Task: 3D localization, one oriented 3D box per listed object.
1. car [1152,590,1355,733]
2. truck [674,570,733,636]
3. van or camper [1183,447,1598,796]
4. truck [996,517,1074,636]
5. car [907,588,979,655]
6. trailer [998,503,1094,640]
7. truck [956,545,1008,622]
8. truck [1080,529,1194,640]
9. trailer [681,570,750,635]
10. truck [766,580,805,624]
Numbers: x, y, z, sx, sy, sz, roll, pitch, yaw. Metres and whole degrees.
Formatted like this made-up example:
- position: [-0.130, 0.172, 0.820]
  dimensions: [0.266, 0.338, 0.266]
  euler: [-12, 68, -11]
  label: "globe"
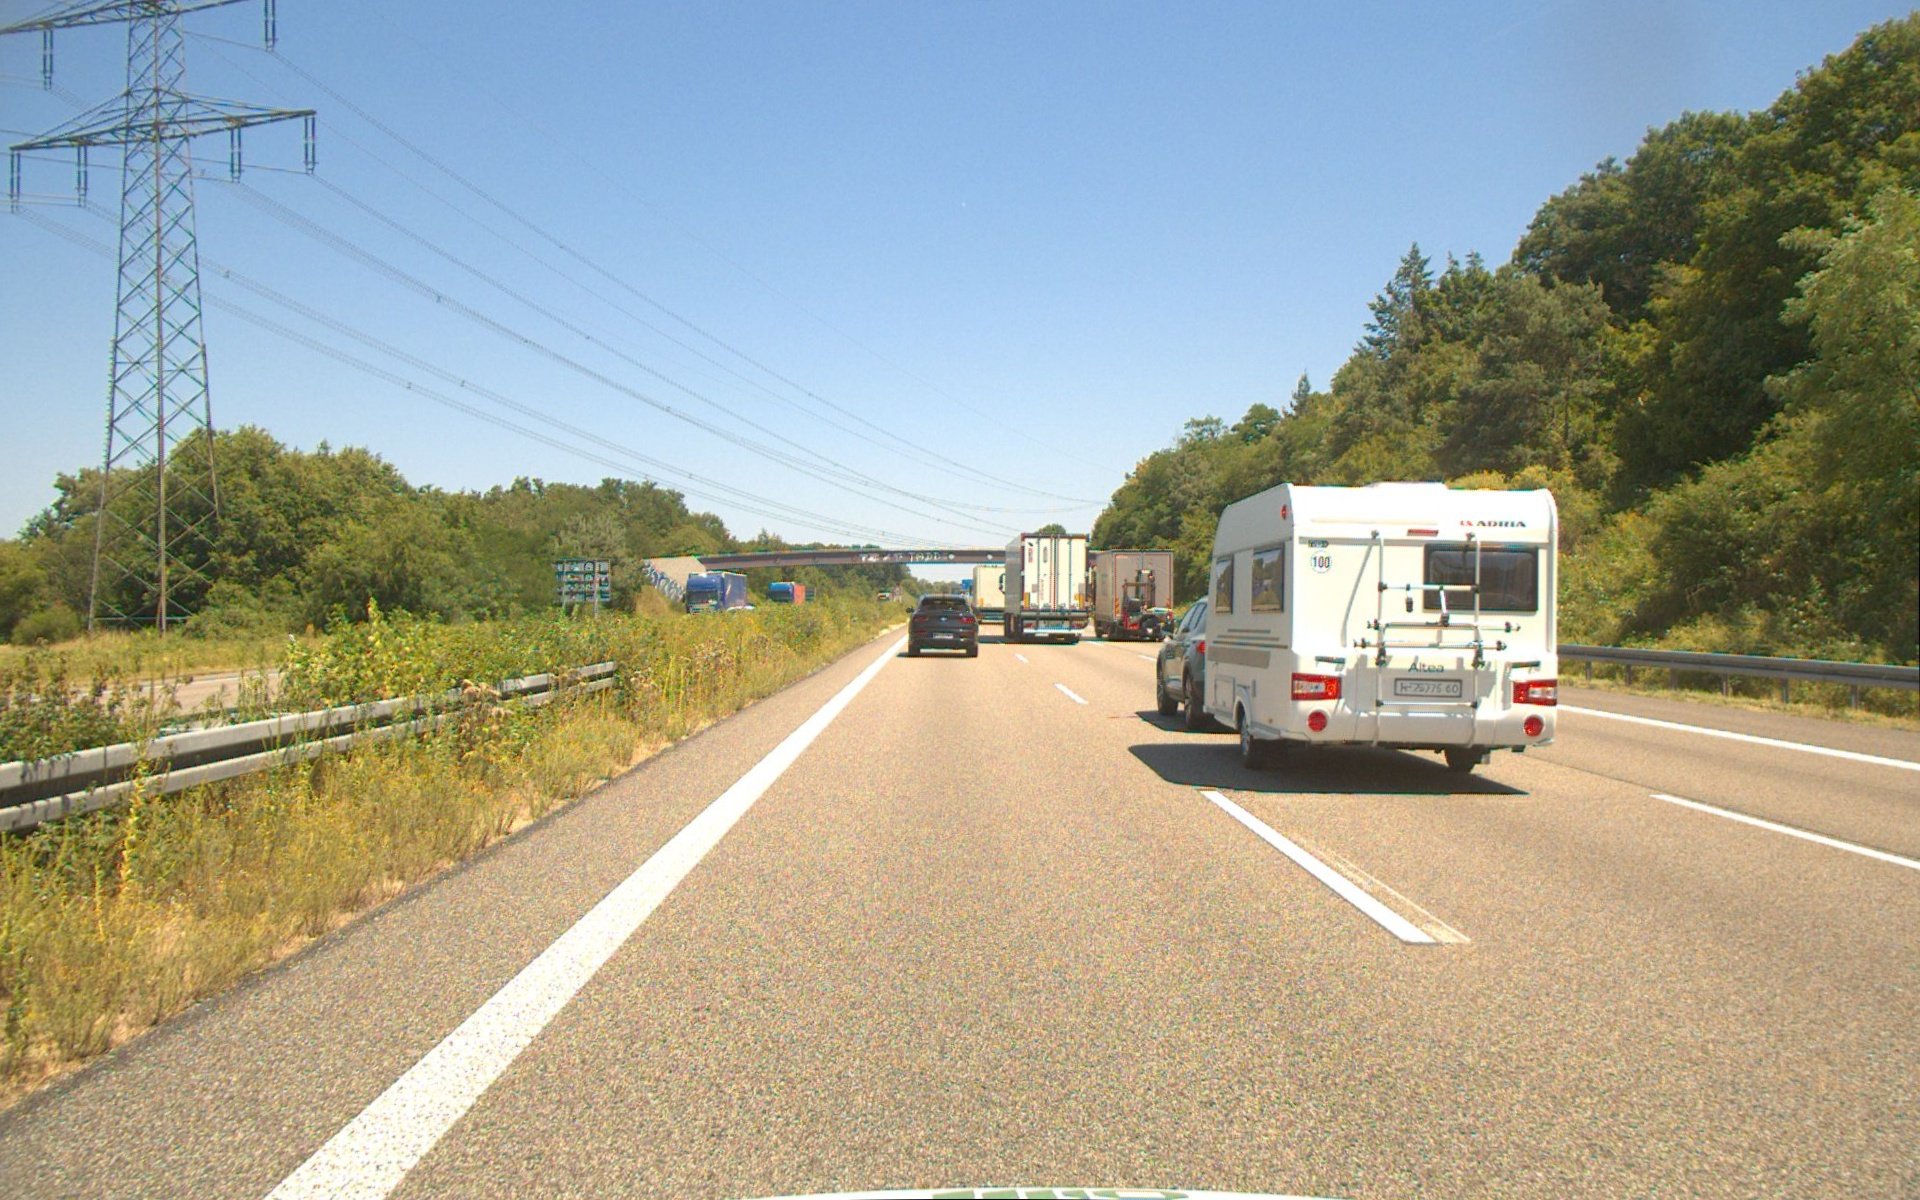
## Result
- position: [3.699, 0.714, 21.690]
  dimensions: [1.840, 1.640, 4.702]
  euler: [1, 0, 0]
  label: "car"
- position: [-18.385, 0.211, 118.826]
  dimensions: [3.025, 4.484, 6.800]
  euler: [-3, 0, -1]
  label: "truck"
- position: [3.806, 0.155, 16.164]
  dimensions: [2.389, 2.721, 6.349]
  euler: [0, 0, 0]
  label: "van or camper"
- position: [3.268, -0.987, 73.809]
  dimensions: [3.024, 4.970, 6.596]
  euler: [1, 0, -1]
  label: "truck"
- position: [-0.528, 0.585, 46.935]
  dimensions: [1.953, 1.803, 3.999]
  euler: [0, 0, -2]
  label: "car"
- position: [3.321, -1.025, 66.948]
  dimensions: [3.024, 4.970, 12.255]
  euler: [1, 0, -1]
  label: "trailer"
- position: [1.528, -1.142, 118.826]
  dimensions: [3.440, 5.257, 10.257]
  euler: [1, 0, -1]
  label: "truck"
- position: [7.486, -0.577, 71.634]
  dimensions: [3.498, 4.319, 11.649]
  euler: [1, 0, -1]
  label: "truck"
- position: [-18.466, 0.191, 125.773]
  dimensions: [3.025, 4.484, 14.229]
  euler: [-3, 0, -1]
  label: "trailer"
- position: [-18.534, 0.231, 175.874]
  dimensions: [3.276, 4.484, 7.970]
  euler: [-1, 0, -1]
  label: "truck"
